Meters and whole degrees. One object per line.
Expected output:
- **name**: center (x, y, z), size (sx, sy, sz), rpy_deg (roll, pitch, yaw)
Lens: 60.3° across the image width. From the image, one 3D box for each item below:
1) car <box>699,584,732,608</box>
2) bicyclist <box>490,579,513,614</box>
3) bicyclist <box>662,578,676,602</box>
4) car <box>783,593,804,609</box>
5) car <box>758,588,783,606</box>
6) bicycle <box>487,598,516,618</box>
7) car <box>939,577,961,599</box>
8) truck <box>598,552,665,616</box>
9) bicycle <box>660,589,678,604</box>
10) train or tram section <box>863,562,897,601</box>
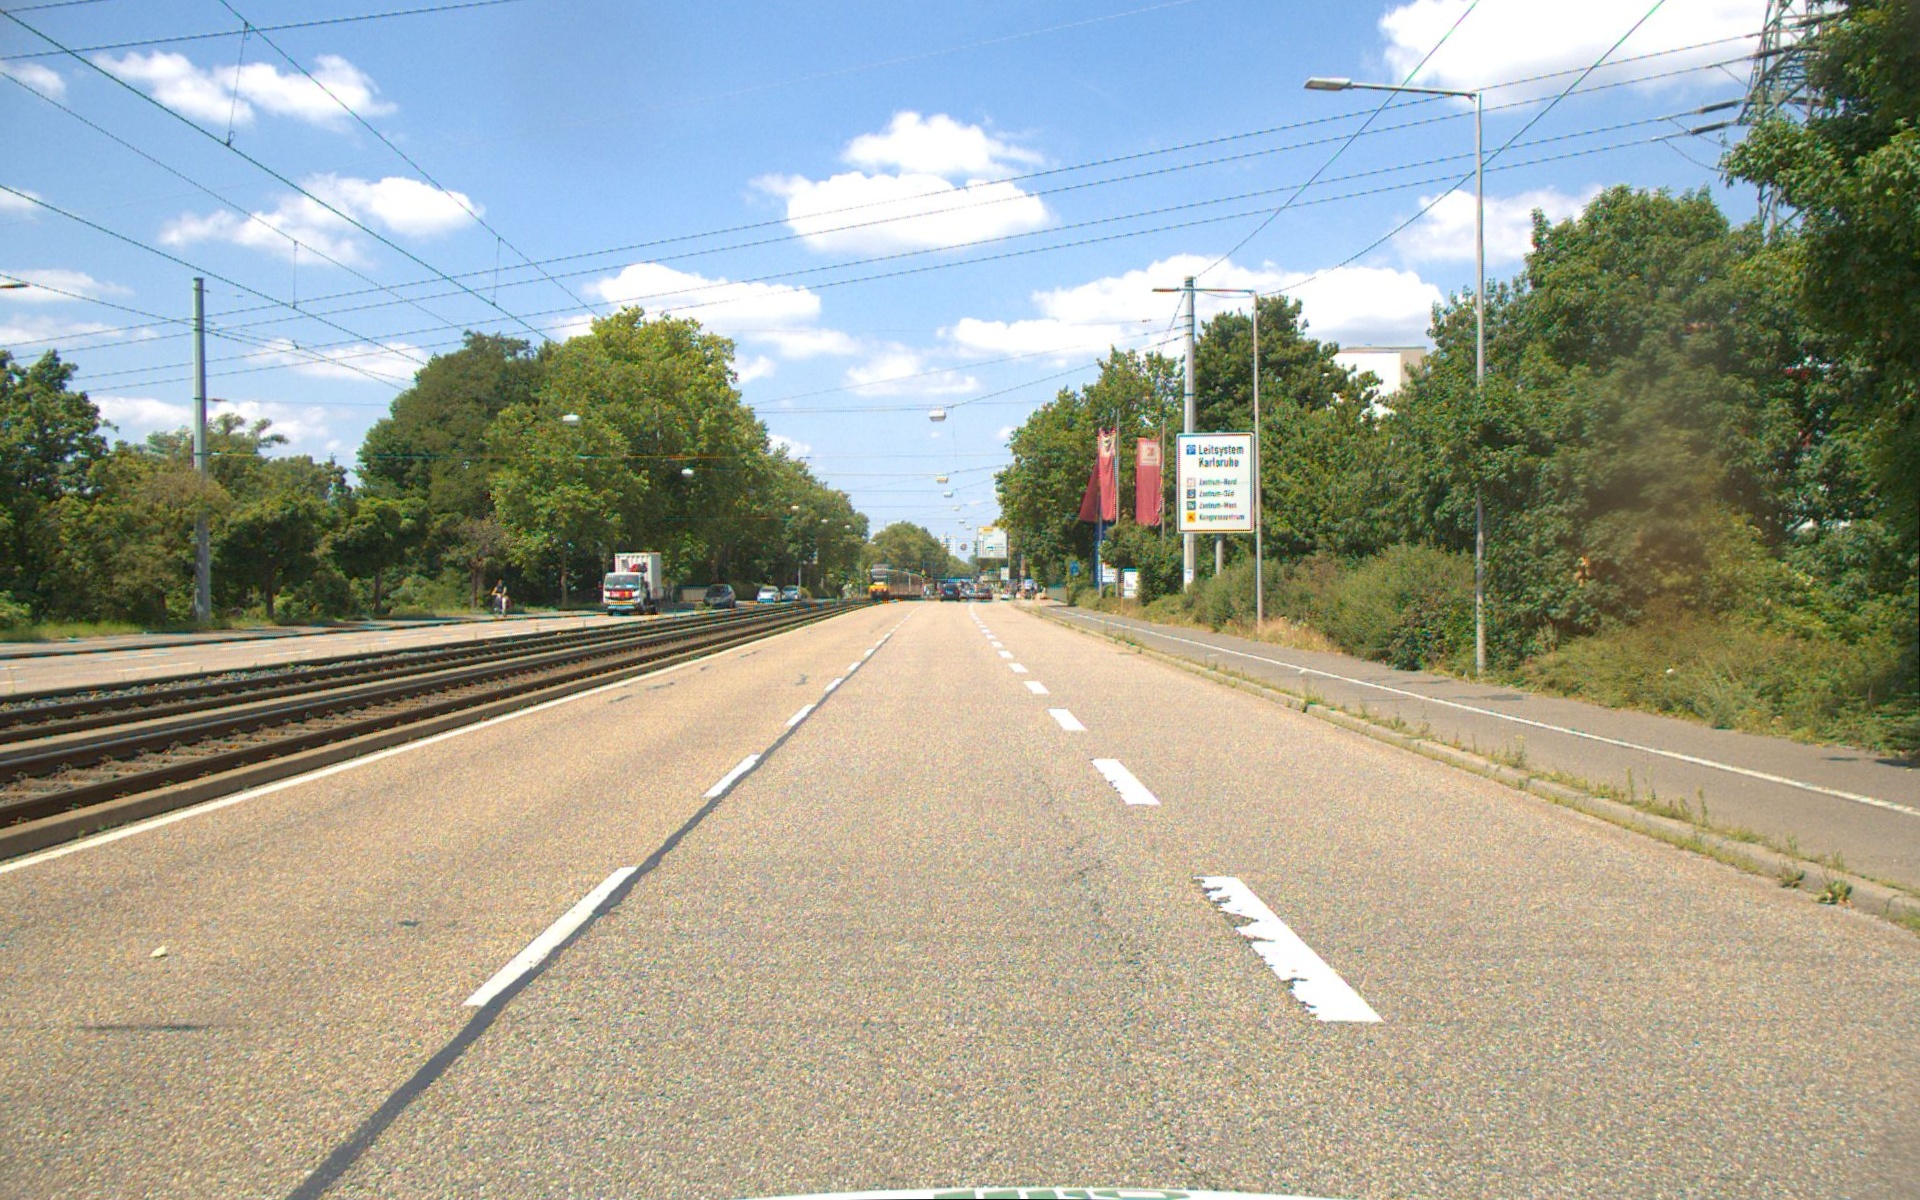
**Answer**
- **car**: center (-16.455, -0.264, 111.338), size (1.717, 1.562, 3.956), rpy_deg (-1, 0, -1)
- **bicyclist**: center (-21.549, -0.162, 77.720), size (0.637, 1.648, 1.156), rpy_deg (2, 0, 3)
- **bicyclist**: center (-19.637, -0.680, 111.634), size (0.609, 1.645, 1.063), rpy_deg (2, 0, 5)
- **car**: center (-15.707, 0.101, 156.124), size (1.603, 1.461, 3.720), rpy_deg (-2, 0, -1)
- **car**: center (-15.772, -0.288, 137.872), size (1.603, 1.446, 4.127), rpy_deg (-1, 0, 0)
- **bicycle**: center (-21.553, 0.366, 77.813), size (0.637, 0.874, 2.121), rpy_deg (2, 1, 3)
- **car**: center (-0.879, -1.047, 147.036), size (1.861, 1.837, 3.976), rpy_deg (2, 0, -1)
- **truck**: center (-17.389, -0.844, 87.811), size (2.203, 3.293, 6.043), rpy_deg (0, 0, 1)
- **bicycle**: center (-19.665, -0.220, 111.716), size (0.609, 0.996, 2.056), rpy_deg (2, 0, 5)
- **train or tram section**: center (-9.201, -2.141, 192.476), size (2.985, 4.342, 15.424), rpy_deg (0, 0, 1)
